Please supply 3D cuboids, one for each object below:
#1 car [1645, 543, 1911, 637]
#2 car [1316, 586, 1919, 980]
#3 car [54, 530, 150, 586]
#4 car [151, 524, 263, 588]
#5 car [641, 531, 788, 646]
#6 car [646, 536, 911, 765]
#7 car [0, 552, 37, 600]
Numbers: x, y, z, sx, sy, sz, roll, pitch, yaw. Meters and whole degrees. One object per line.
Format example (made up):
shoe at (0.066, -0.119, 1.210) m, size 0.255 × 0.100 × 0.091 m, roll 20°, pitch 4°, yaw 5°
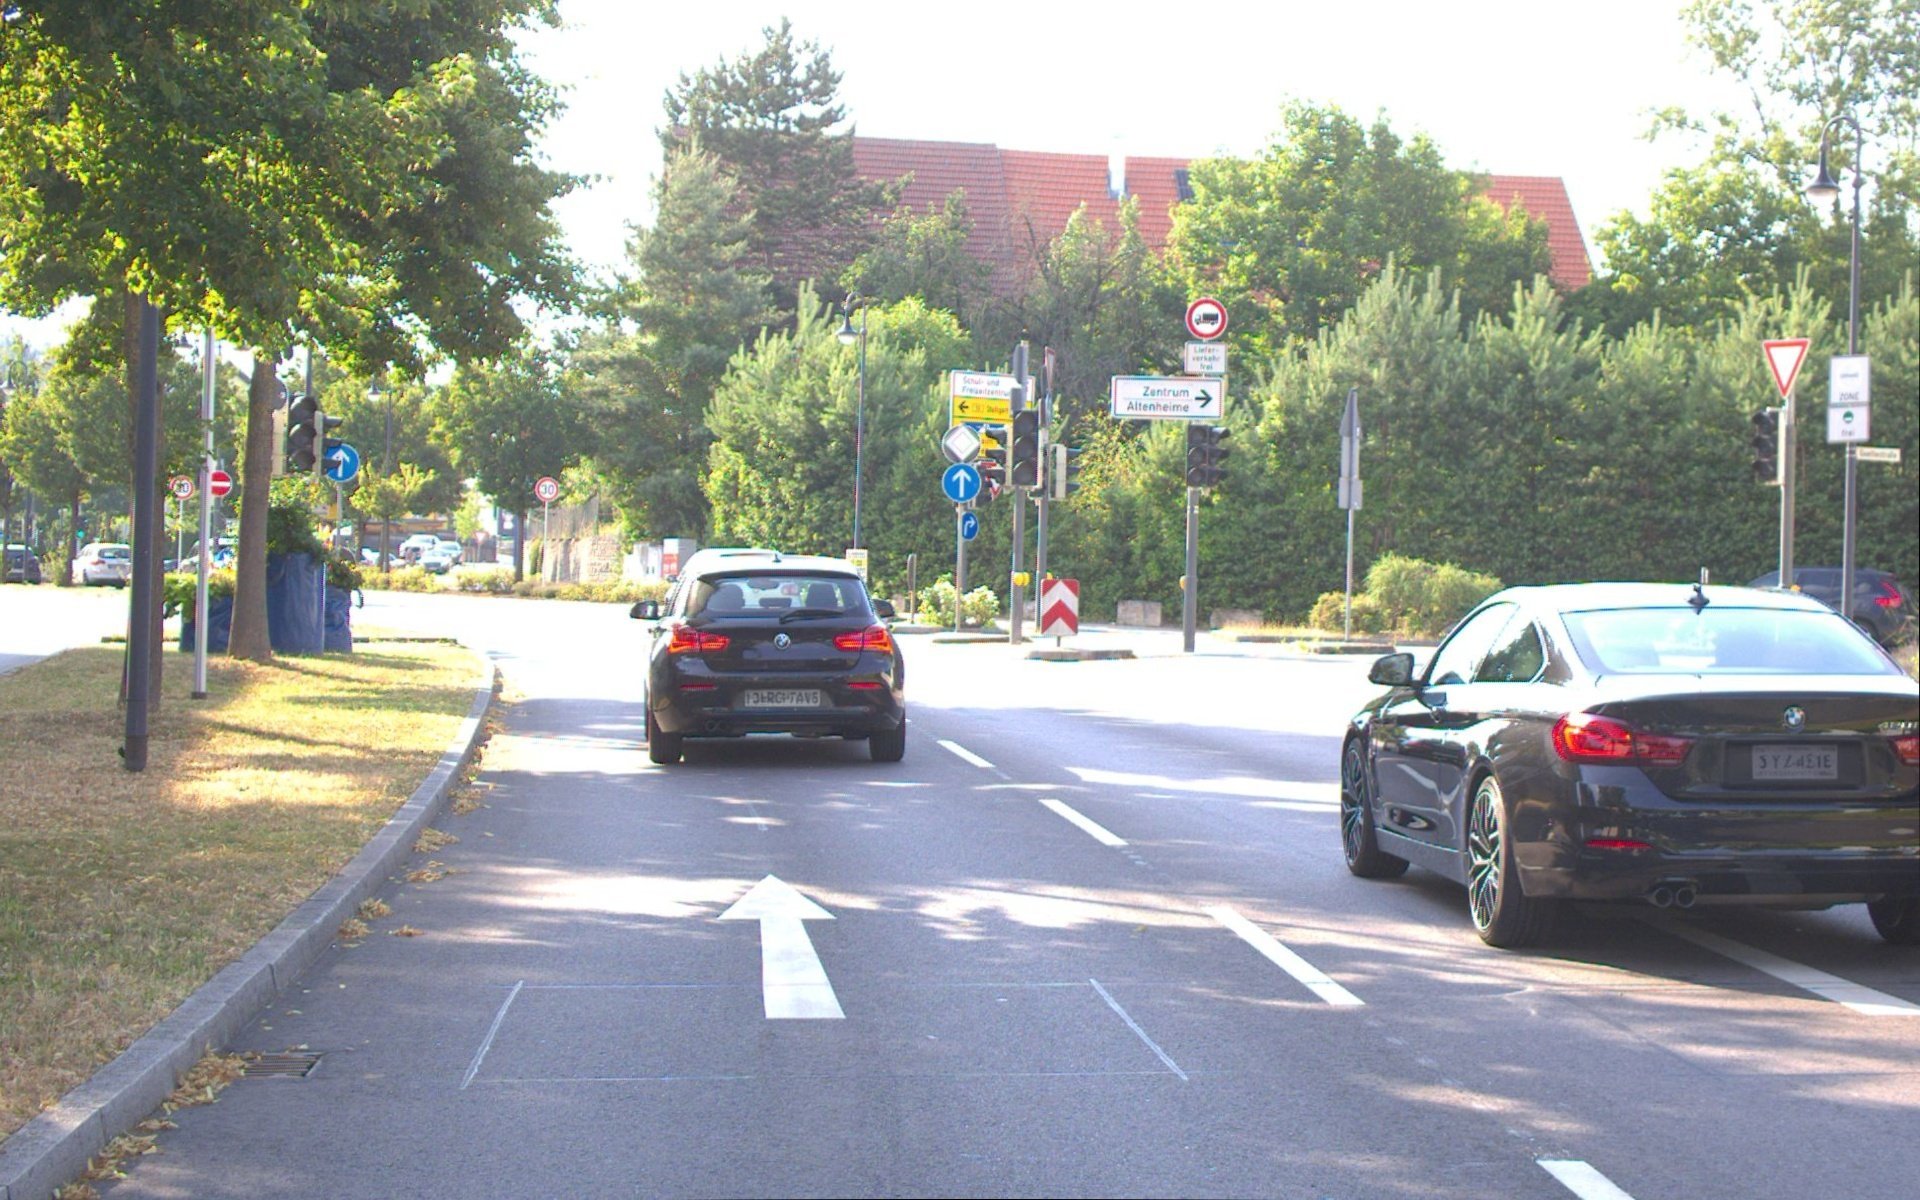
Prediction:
car at (14.485, -0.192, 60.910) m, size 4.263 × 1.561 × 1.790 m, roll 1°, pitch 1°, yaw 27°
car at (2.801, 0.638, 14.258) m, size 1.920 × 1.359 × 4.353 m, roll 0°, pitch 0°, yaw -4°
car at (-27.915, -1.366, 111.764) m, size 2.216 × 1.763 × 4.455 m, roll 0°, pitch 1°, yaw -25°
car at (-21.649, -1.265, 98.708) m, size 2.216 × 1.763 × 4.455 m, roll 0°, pitch 1°, yaw -25°
car at (-4.020, -0.200, 55.596) m, size 1.924 × 1.763 × 4.455 m, roll 1°, pitch 1°, yaw -10°
car at (-1.272, 0.315, 25.001) m, size 1.721 × 1.485 × 4.353 m, roll 1°, pitch 1°, yaw -2°
car at (-36.006, -0.925, 128.348) m, size 2.216 × 1.763 × 4.455 m, roll 0°, pitch 1°, yaw -25°
